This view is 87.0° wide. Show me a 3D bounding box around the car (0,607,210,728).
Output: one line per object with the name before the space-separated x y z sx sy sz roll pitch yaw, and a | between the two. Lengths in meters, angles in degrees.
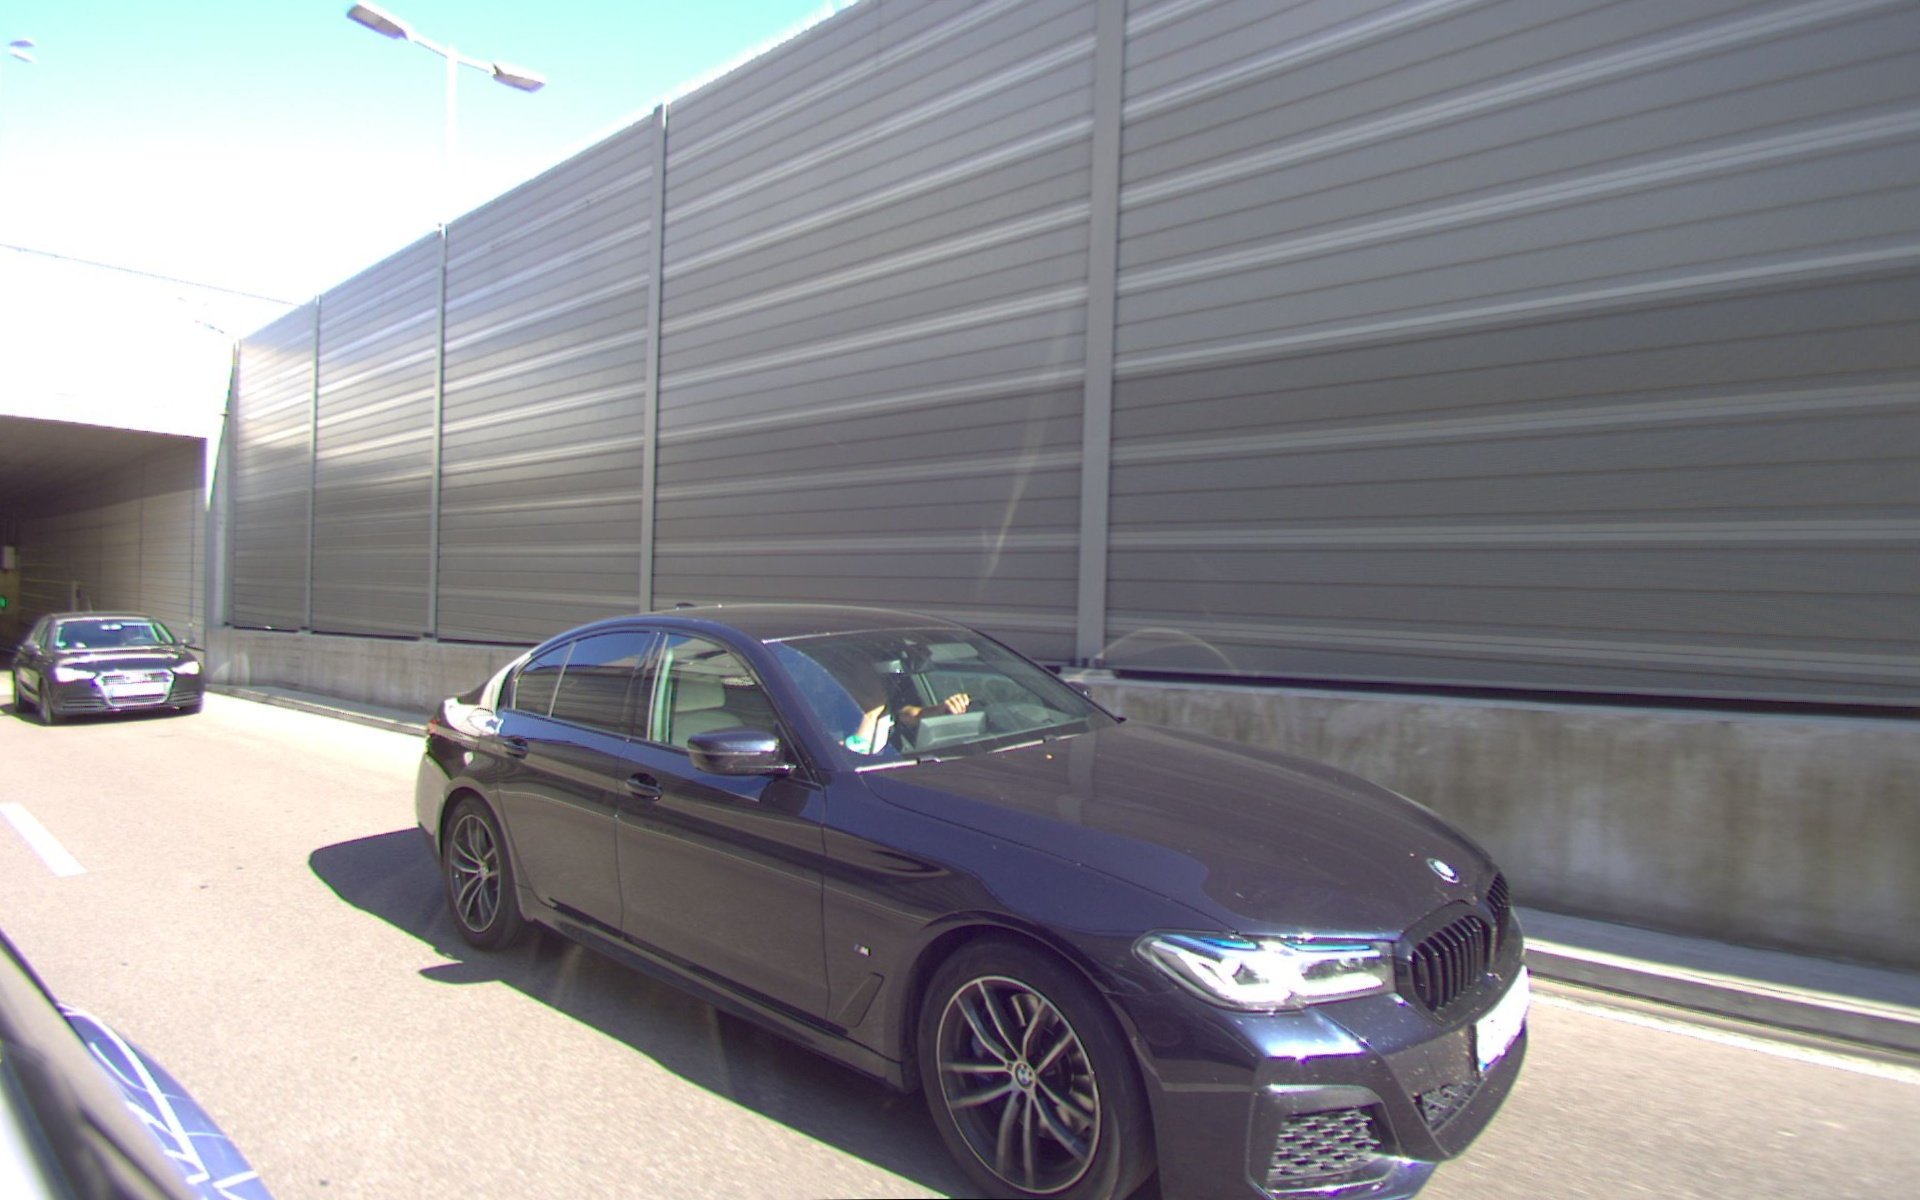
car | -11.994 0.855 14.113 3.886 1.429 1.678 -2 -1 41

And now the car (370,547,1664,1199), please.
car | -0.399 0.681 3.955 5.000 1.450 1.790 -2 0 41
